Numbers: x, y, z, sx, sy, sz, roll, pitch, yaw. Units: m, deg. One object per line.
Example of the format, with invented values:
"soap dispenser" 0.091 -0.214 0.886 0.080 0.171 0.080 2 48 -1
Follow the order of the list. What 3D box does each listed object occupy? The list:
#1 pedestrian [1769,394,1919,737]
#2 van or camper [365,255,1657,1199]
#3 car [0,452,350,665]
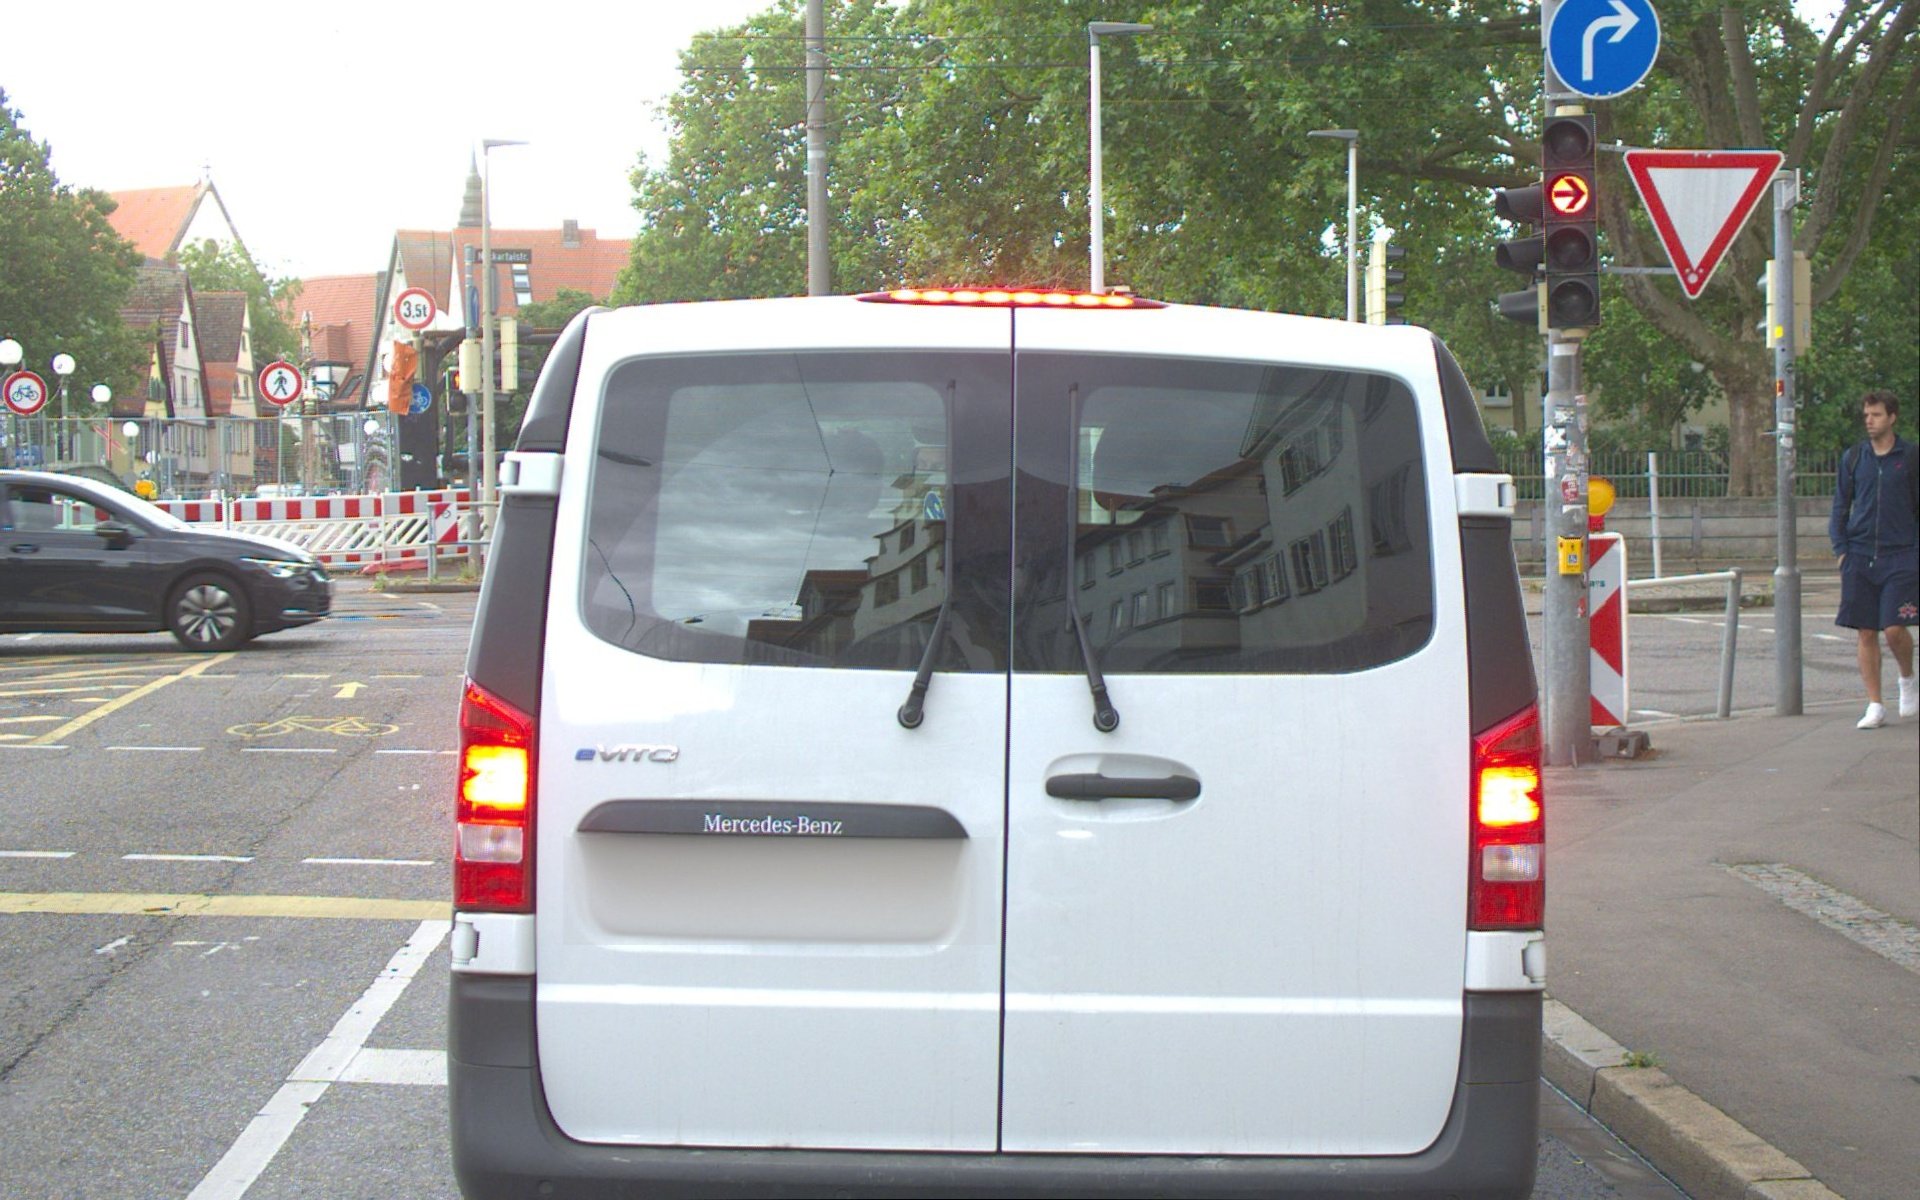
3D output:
"pedestrian" 5.206 -0.212 19.177 1.149 1.850 0.679 -3 2 -30
"van or camper" -0.062 0.346 7.428 1.937 1.918 4.442 1 3 -4
"car" -7.183 -0.341 27.678 4.272 1.569 1.872 -2 3 -5
